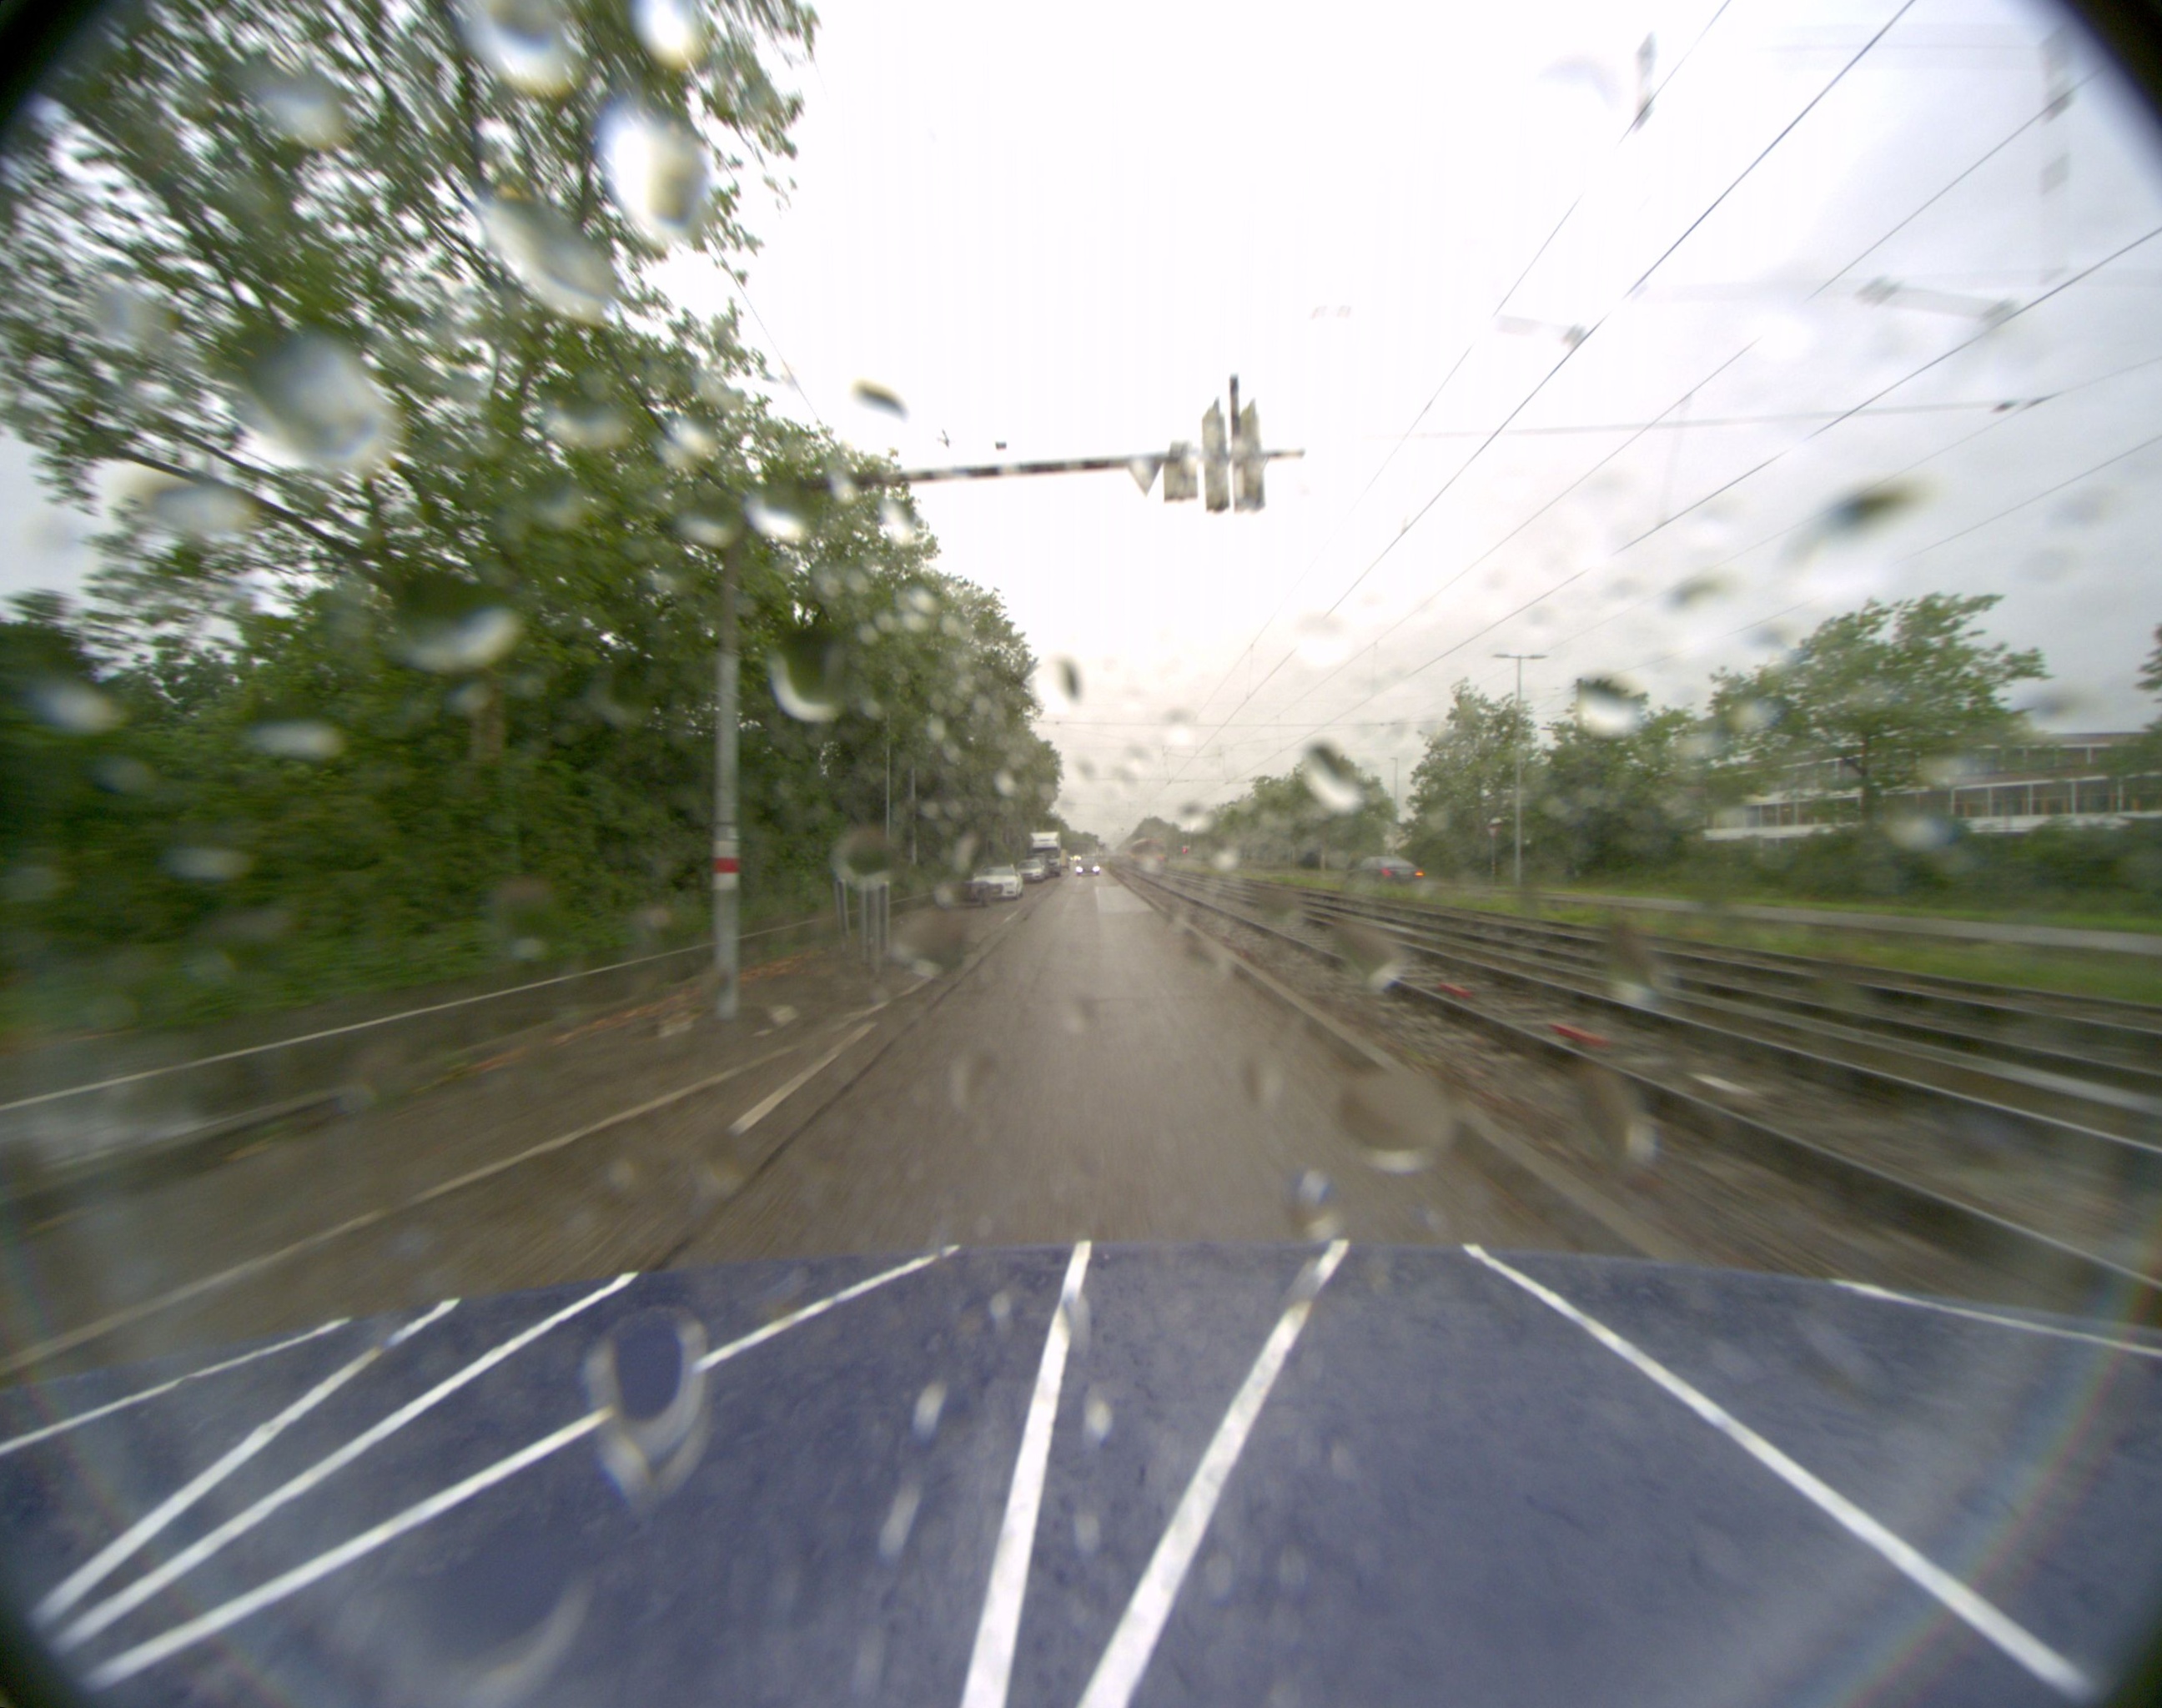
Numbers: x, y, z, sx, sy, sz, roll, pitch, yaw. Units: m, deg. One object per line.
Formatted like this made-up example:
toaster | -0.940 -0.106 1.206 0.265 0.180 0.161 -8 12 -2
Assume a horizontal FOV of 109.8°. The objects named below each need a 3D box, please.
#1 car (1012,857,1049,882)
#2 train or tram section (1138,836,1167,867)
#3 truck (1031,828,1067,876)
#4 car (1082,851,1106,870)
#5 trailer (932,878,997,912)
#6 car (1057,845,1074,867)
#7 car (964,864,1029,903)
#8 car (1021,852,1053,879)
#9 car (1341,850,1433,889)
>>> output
car | -3.235 1.022 49.575 1.998 1.497 4.197 -2 -1 1
train or tram section | 9.094 -0.318 98.116 2.460 3.603 15.105 -2 1 1
truck | -2.686 -0.131 66.002 2.567 3.847 7.847 -2 -1 1
car | 1.107 0.598 65.017 1.998 1.497 4.197 -2 -1 1
trailer | -3.730 1.309 24.773 1.546 0.931 3.276 -2 -1 1
car | -1.959 0.274 97.465 1.998 2.661 4.197 -2 -1 1
car | -3.283 1.126 30.248 1.998 1.394 4.197 -2 -1 1
car | -3.256 0.848 56.662 1.998 1.897 4.197 -2 -1 1
car | 13.325 0.622 33.439 1.999 1.514 4.956 -2 1 0
